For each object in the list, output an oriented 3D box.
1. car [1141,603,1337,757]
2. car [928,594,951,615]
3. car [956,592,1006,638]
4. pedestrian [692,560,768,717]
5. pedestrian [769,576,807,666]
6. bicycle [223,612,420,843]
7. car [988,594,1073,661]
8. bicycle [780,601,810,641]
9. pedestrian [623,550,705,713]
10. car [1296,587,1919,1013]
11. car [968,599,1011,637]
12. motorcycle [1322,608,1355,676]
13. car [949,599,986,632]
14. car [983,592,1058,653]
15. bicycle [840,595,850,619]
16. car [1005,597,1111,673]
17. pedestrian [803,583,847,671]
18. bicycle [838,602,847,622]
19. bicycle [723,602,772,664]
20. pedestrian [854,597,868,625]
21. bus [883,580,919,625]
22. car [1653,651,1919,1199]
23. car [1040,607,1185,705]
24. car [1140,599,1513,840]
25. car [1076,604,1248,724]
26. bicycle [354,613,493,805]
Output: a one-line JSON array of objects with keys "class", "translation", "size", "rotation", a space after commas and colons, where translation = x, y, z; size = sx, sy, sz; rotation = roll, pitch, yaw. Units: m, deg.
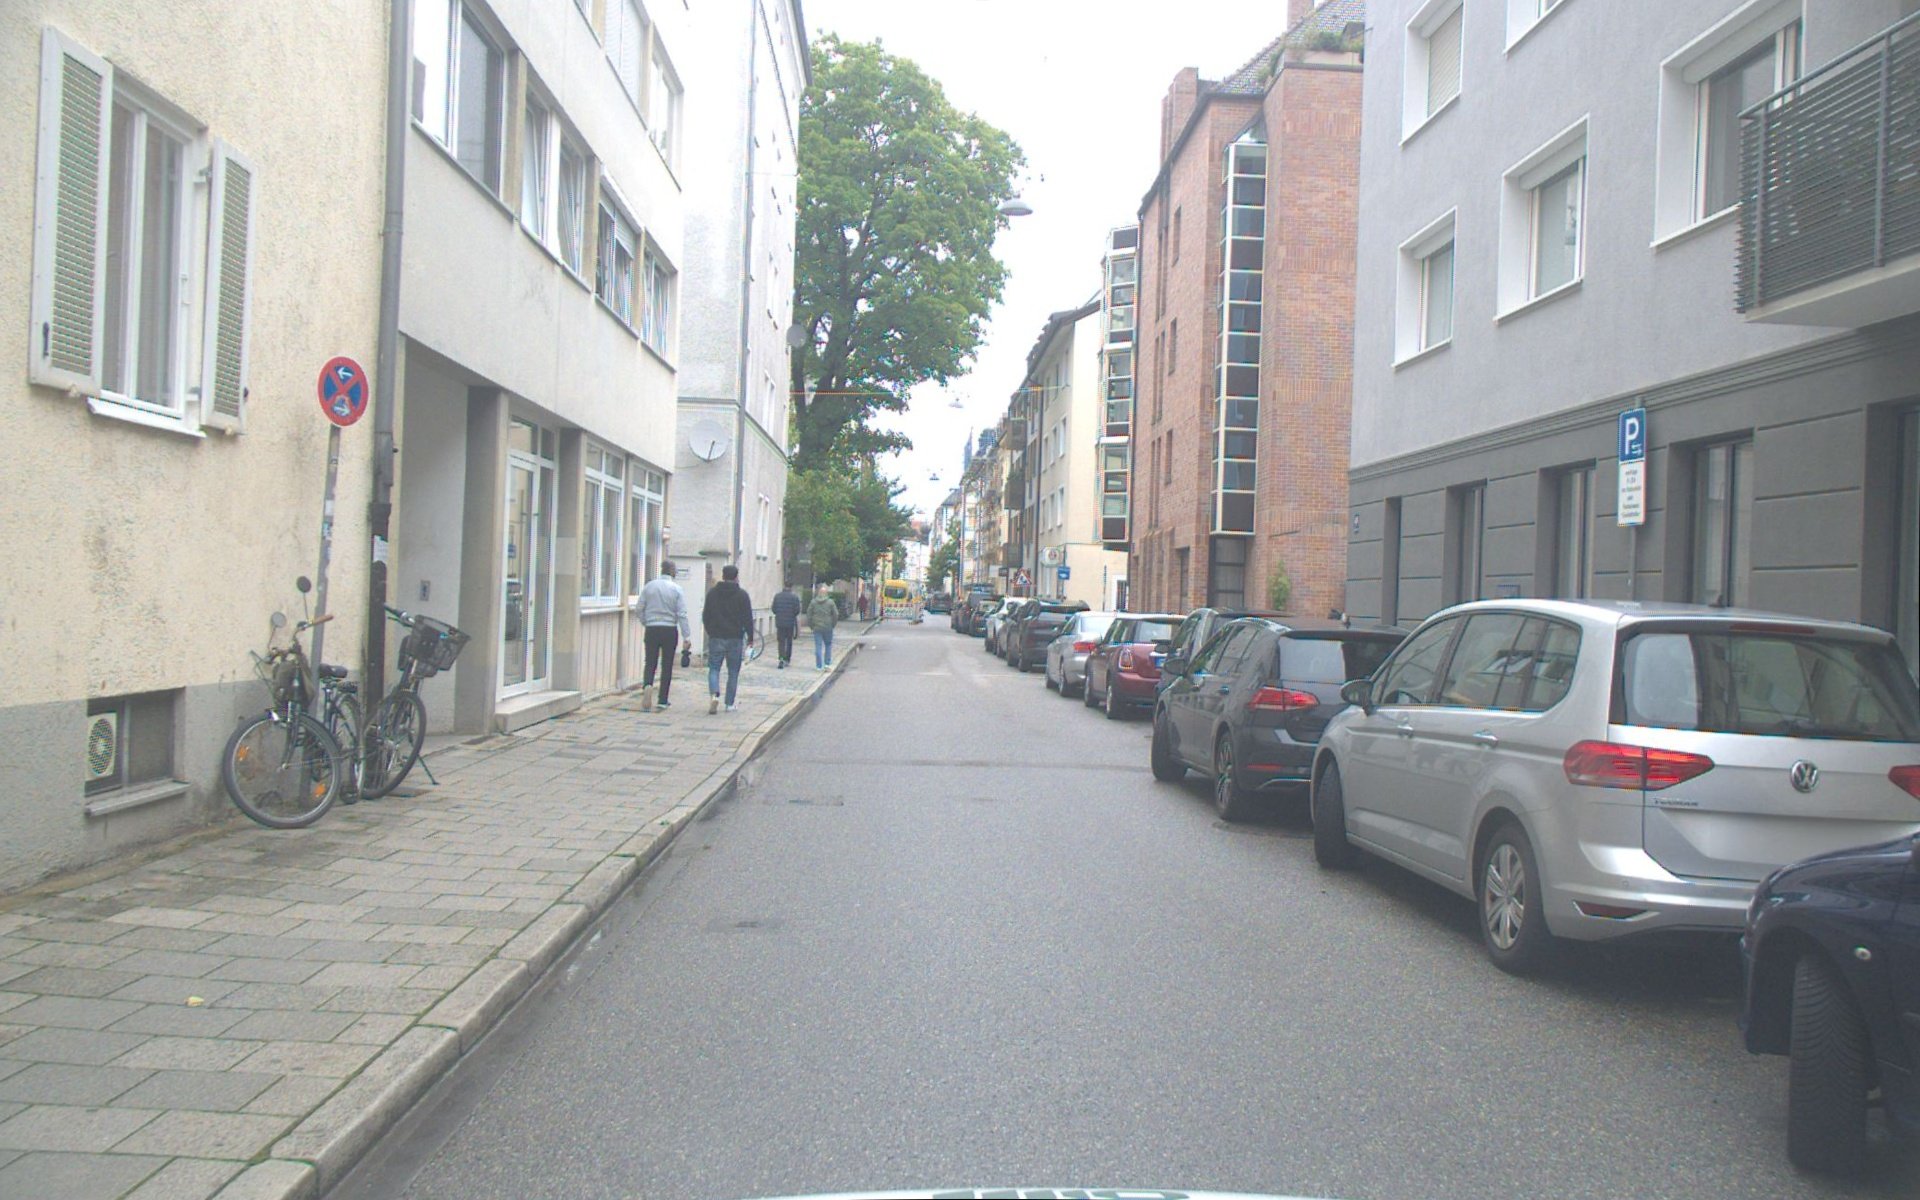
[{"class": "car", "translation": [3.092, 0.844, 18.864], "size": [1.491, 1.538, 3.200], "rotation": [2, 0, -3]}, {"class": "car", "translation": [-1.897, 0.419, 152.307], "size": [1.766, 1.741, 3.824], "rotation": [5, 0, -4]}, {"class": "car", "translation": [0.930, 0.649, 74.603], "size": [1.766, 1.851, 3.997], "rotation": [5, 0, -4]}, {"class": "pedestrian", "translation": [-2.725, 0.452, 19.702], "size": [0.704, 1.796, 0.838], "rotation": [3, -1, -2]}, {"class": "pedestrian", "translation": [-3.448, 0.423, 33.153], "size": [0.600, 1.743, 0.823], "rotation": [4, -1, -2]}, {"class": "bicycle", "translation": [-3.609, 0.674, 9.474], "size": [0.449, 1.179, 1.605], "rotation": [4, -1, -1]}, {"class": "car", "translation": [1.792, 0.699, 43.154], "size": [1.687, 1.664, 3.877], "rotation": [1, 0, -5]}, {"class": "bicycle", "translation": [-4.875, 0.601, 48.731], "size": [0.466, 1.130, 1.750], "rotation": [2, 0, -19]}, {"class": "pedestrian", "translation": [-3.464, 0.369, 19.430], "size": [0.704, 1.828, 0.916], "rotation": [3, -1, -2]}, {"class": "car", "translation": [3.189, 0.757, 8.429], "size": [1.838, 1.598, 4.313], "rotation": [1, 0, -4]}, {"class": "car", "translation": [1.234, 0.754, 70.252], "size": [1.592, 1.513, 3.807], "rotation": [3, 0, -2]}, {"class": "motorcycle", "translation": [7.908, 0.859, 34.616], "size": [0.528, 1.368, 1.942], "rotation": [1, -1, 9]}, {"class": "car", "translation": [0.372, 0.793, 86.468], "size": [1.603, 1.541, 3.827], "rotation": [5, 0, -2]}, {"class": "car", "translation": [1.741, 0.624, 48.515], "size": [1.714, 1.658, 4.193], "rotation": [1, 0, -4]}, {"class": "bicycle", "translation": [-7.018, 0.448, 100.890], "size": [0.504, 1.442, 1.933], "rotation": [1, -1, -2]}, {"class": "car", "translation": [2.191, 0.753, 38.152], "size": [1.848, 1.582, 4.388], "rotation": [2, 0, -4]}, {"class": "pedestrian", "translation": [-2.710, 0.541, 33.262], "size": [0.738, 1.688, 0.906], "rotation": [4, -1, -2]}, {"class": "bicycle", "translation": [-6.247, 0.640, 88.109], "size": [0.437, 1.092, 2.466], "rotation": [1, 0, -3]}, {"class": "bicycle", "translation": [-4.398, 0.660, 34.133], "size": [0.632, 1.239, 1.654], "rotation": [1, -1, -21]}, {"class": "pedestrian", "translation": [-5.445, 0.606, 90.953], "size": [0.741, 1.517, 0.831], "rotation": [1, -1, -2]}, {"class": "bus", "translation": [-4.270, 0.224, 120.176], "size": [2.540, 3.156, 6.303], "rotation": [1, -1, -2]}, {"class": "car", "translation": [3.226, 0.882, 3.508], "size": [1.771, 1.387, 3.944], "rotation": [1, 0, -1]}, {"class": "car", "translation": [2.513, 0.885, 28.312], "size": [1.800, 1.442, 4.598], "rotation": [2, 0, -3]}, {"class": "car", "translation": [2.711, 0.808, 13.298], "size": [1.803, 1.555, 4.290], "rotation": [2, 0, -3]}, {"class": "car", "translation": [2.791, 0.848, 23.722], "size": [1.711, 1.487, 4.148], "rotation": [2, 0, -3]}, {"class": "bicycle", "translation": [-3.590, 0.688, 11.191], "size": [0.551, 1.180, 1.718], "rotation": [2, -1, -8]}]
